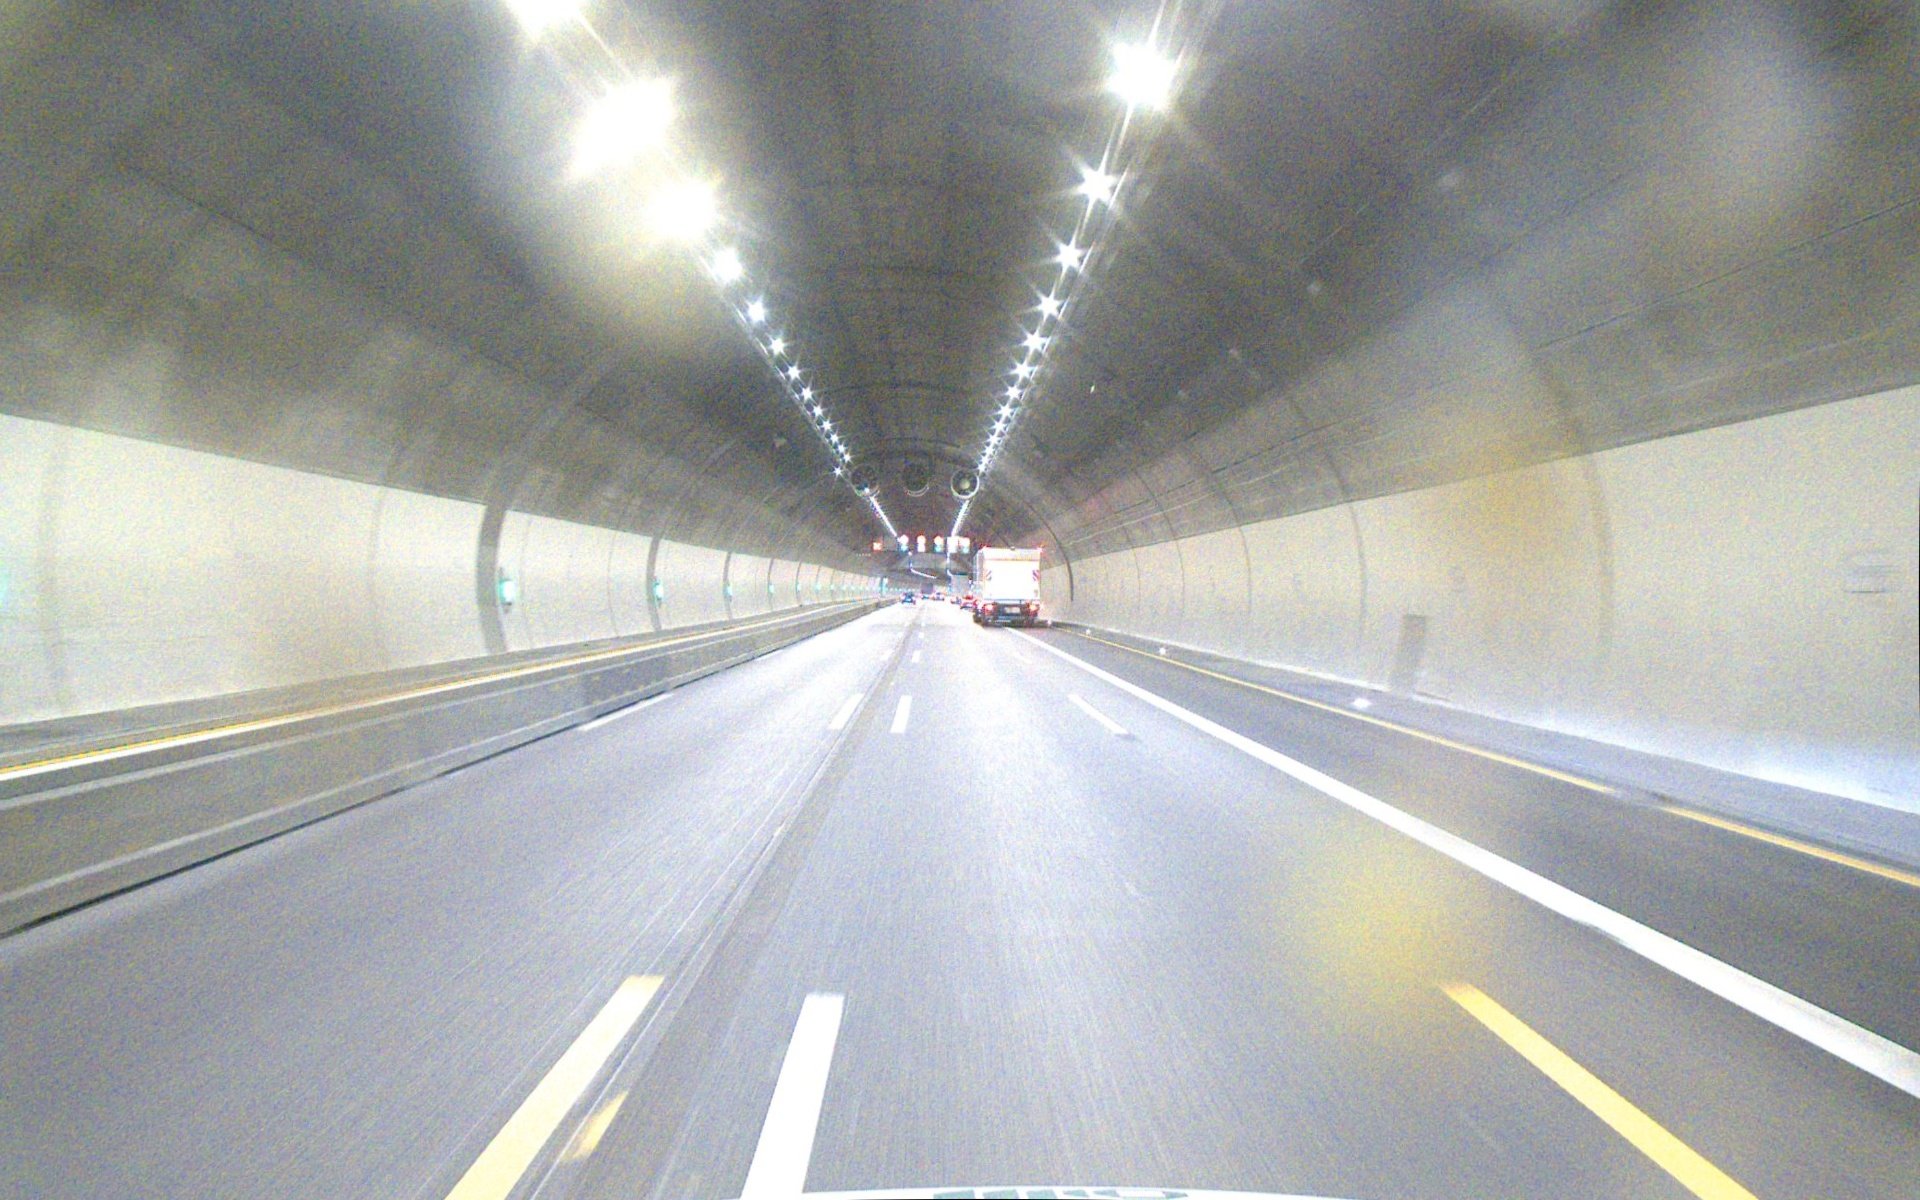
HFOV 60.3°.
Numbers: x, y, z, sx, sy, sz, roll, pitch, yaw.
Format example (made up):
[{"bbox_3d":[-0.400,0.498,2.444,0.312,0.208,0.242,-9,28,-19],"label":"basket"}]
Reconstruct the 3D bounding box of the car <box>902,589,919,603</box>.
[{"bbox_3d":[-5.527,-0.464,183.681,1.723,1.486,4.118,2,1,0],"label":"car"}]

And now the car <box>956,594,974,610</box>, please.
[{"bbox_3d":[0.533,0.206,165.487,1.704,1.486,3.961,2,1,1],"label":"car"}]

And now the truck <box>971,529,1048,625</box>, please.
[{"bbox_3d":[2.170,-0.945,76.526,3.029,3.986,10.366,2,-1,0],"label":"truck"}]

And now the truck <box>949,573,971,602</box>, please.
[{"bbox_3d":[0.020,-1.772,238.795,3.003,3.986,10.368,2,-1,1],"label":"truck"}]

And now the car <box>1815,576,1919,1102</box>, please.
[{"bbox_3d":[3.714,0.714,2.816,1.886,1.498,4.953,2,0,-1],"label":"car"}]
